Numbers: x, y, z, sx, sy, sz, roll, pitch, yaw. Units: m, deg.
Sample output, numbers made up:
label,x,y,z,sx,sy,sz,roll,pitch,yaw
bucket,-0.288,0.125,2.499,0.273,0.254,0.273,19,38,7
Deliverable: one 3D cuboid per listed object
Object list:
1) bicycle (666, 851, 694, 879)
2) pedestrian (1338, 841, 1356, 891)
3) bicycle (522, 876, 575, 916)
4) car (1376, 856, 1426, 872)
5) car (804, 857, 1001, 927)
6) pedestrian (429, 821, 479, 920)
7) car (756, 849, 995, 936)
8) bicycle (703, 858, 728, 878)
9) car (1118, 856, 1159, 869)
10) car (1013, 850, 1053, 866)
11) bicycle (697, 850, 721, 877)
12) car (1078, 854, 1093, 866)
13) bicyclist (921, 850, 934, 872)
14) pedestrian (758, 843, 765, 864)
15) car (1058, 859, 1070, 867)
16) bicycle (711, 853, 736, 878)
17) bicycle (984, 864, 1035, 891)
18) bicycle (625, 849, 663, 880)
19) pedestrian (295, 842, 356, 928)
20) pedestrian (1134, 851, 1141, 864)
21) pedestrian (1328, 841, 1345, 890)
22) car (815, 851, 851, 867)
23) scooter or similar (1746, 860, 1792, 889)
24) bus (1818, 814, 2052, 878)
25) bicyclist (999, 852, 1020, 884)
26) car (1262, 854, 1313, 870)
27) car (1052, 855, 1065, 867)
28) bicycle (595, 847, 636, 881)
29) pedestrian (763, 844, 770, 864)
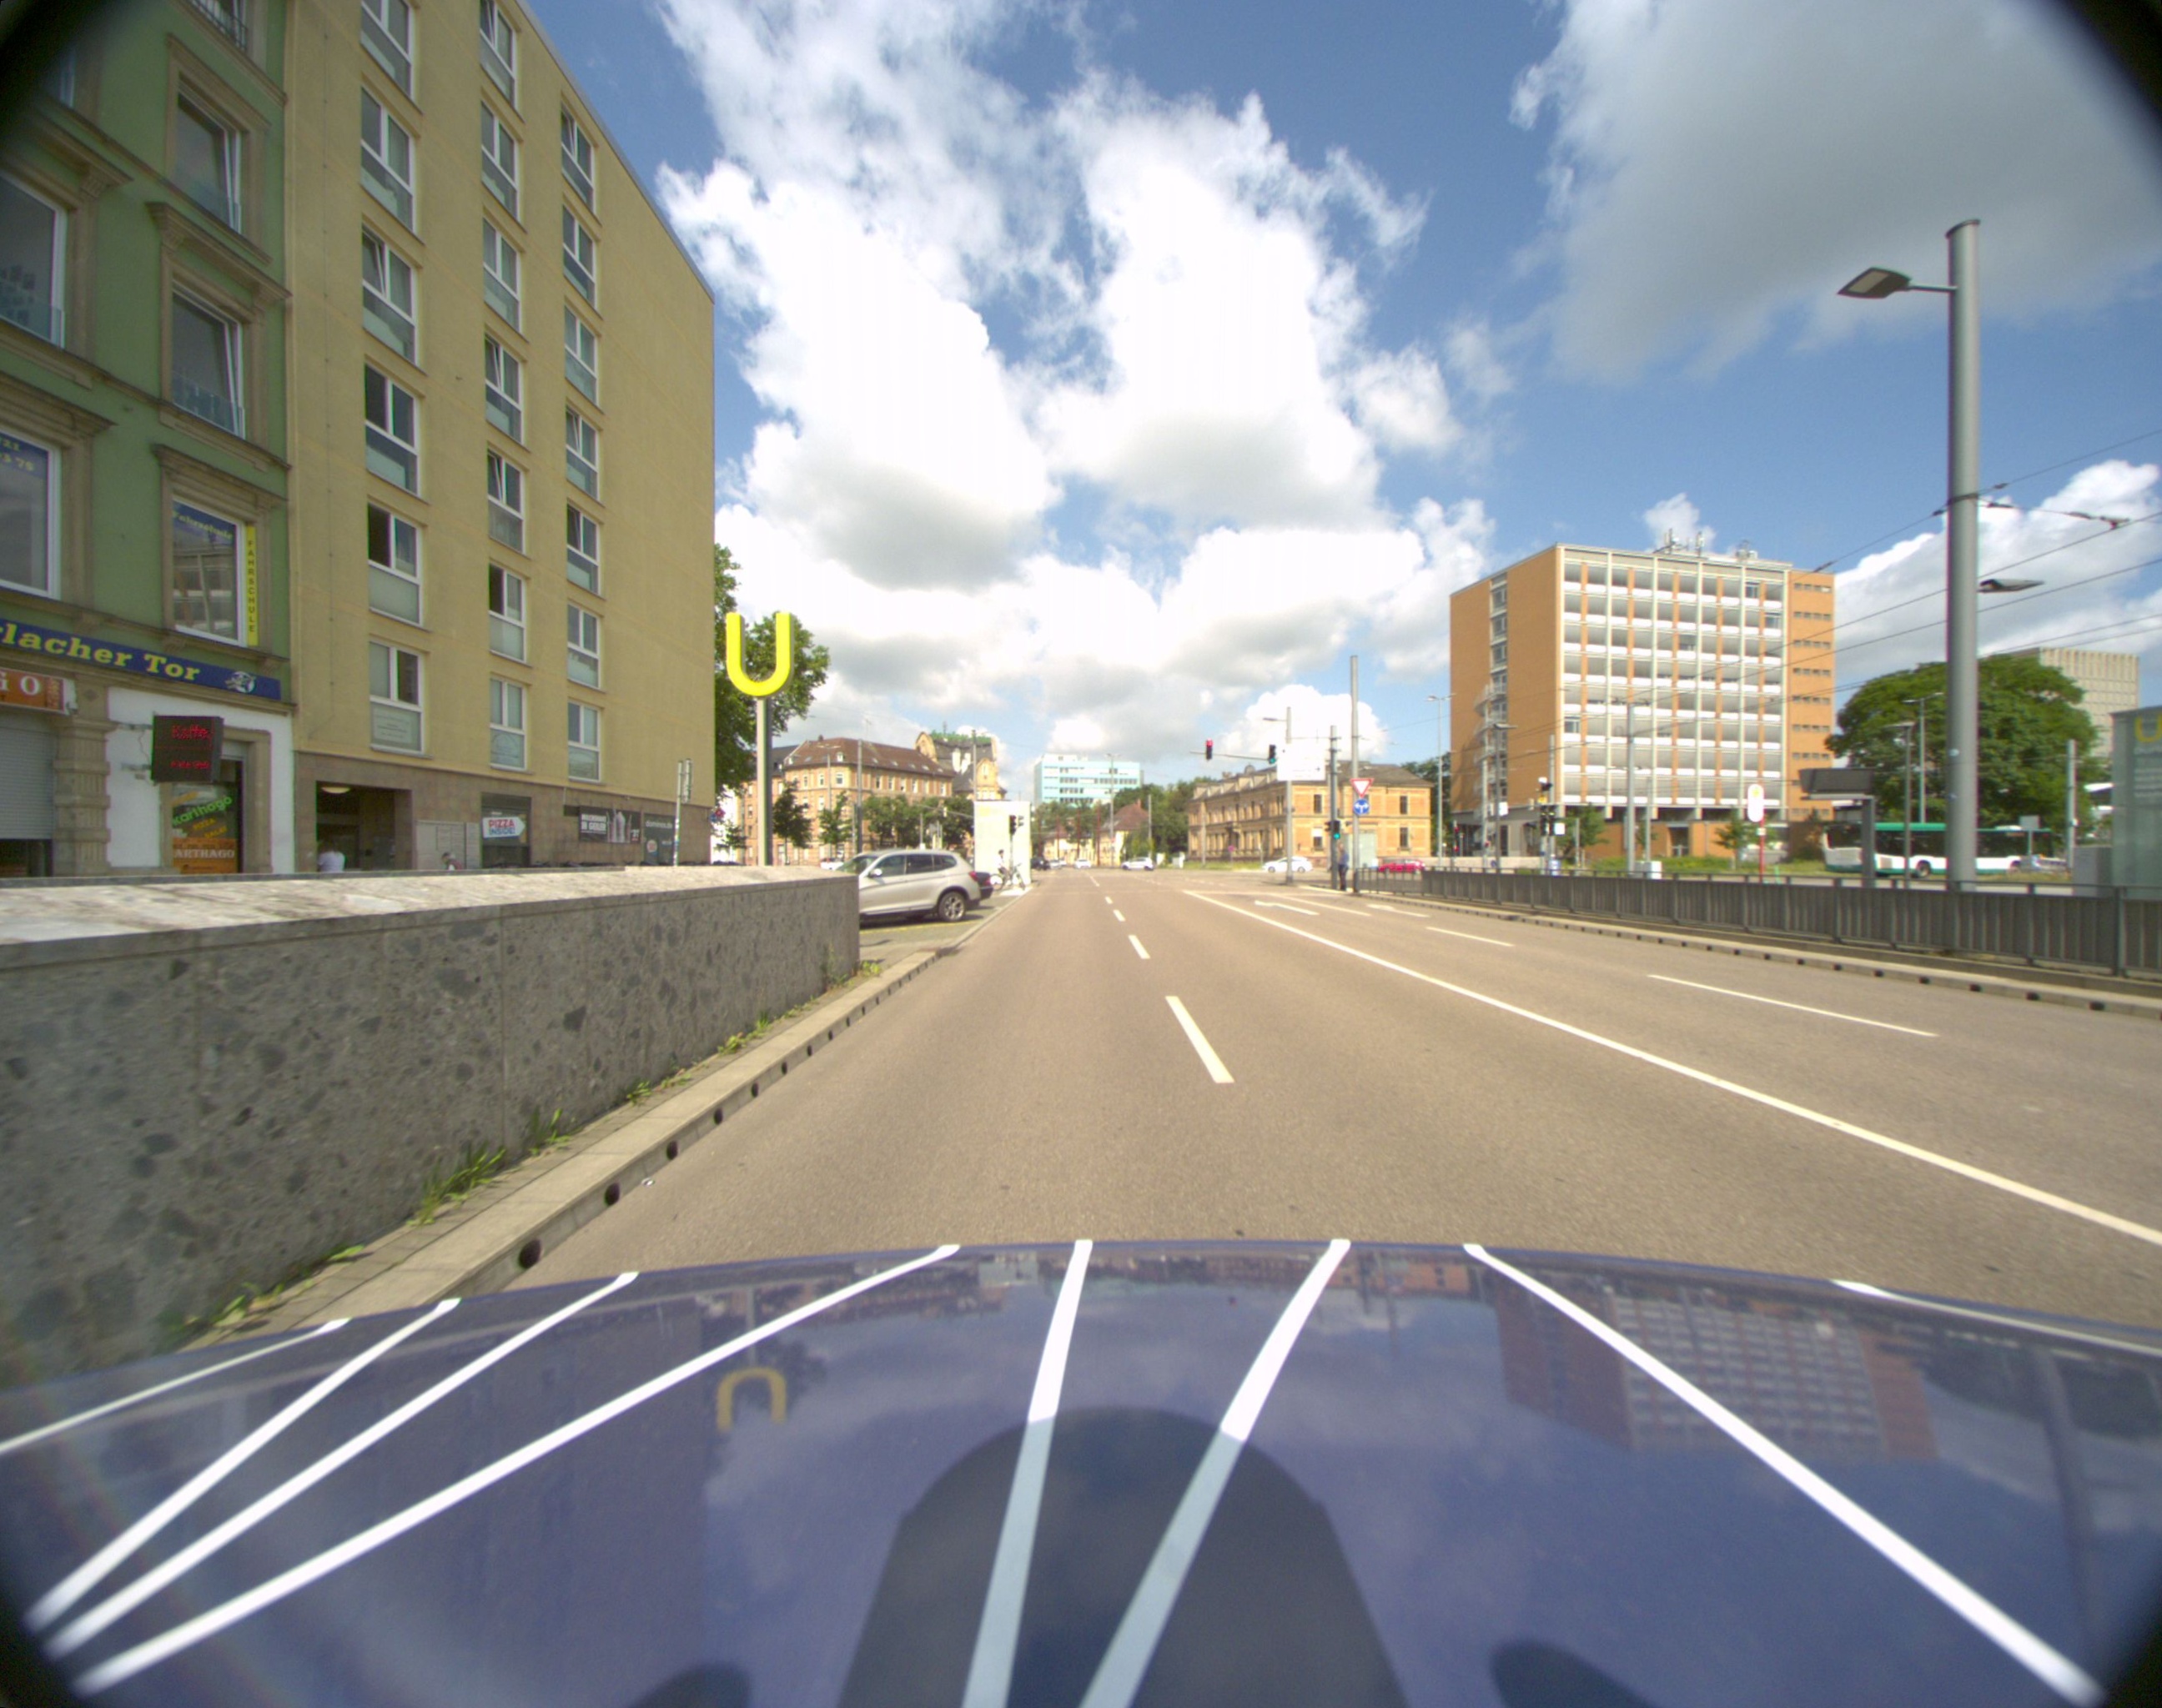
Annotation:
label,x,y,z,sx,sy,sz,roll,pitch,yaw
bicycle,-13.482,0.360,25.593,0.293,0.917,1.452,0,0,-5
pedestrian,10.852,0.476,30.980,0.503,2.002,0.515,0,1,-12
bicycle,-12.906,1.004,18.449,0.293,0.917,1.464,0,-1,-2
car,29.304,0.941,69.699,4.057,1.458,1.649,-1,-2,14
car,-4.628,0.938,20.103,4.608,1.451,1.934,-3,0,-40
pedestrian,-12.834,0.333,15.561,0.603,2.001,0.460,0,-1,0
car,-4.371,0.712,16.633,4.606,1.637,2.056,0,1,-42
bicycle,-13.580,0.510,28.262,0.293,0.734,1.452,0,0,-3
car,6.214,0.916,82.144,4.070,1.376,1.591,-1,-2,19
car,-5.424,0.488,86.702,4.203,1.566,1.649,-2,-2,19
bicycle,-12.824,0.339,26.244,0.293,0.917,1.611,0,-1,-9
car,0.621,0.829,103.487,1.956,1.586,4.507,0,-2,-2
bicyclist,-9.935,0.451,49.141,0.655,1.429,0.743,0,1,0
pedestrian,-48.889,-0.053,116.367,0.885,3.101,0.669,-2,-2,41
car,-4.238,2.182,188.700,2.001,2.001,3.996,0,-2,-16
bicycle,-13.105,0.411,27.881,0.293,0.878,1.463,0,1,-2
bicycle,-3.022,1.003,32.188,2.096,1.099,0.545,-1,-2,16
bicycle,-13.147,0.315,22.903,0.293,0.917,1.464,0,0,1
pedestrian,-14.555,0.590,14.640,0.603,1.609,0.460,3,-1,0
pedestrian,6.813,0.412,91.425,0.543,1.507,0.744,0,0,40
pedestrian,10.616,0.472,31.608,0.427,2.002,0.578,0,1,-11
car,-25.367,0.539,77.621,3.646,1.461,1.695,-2,-2,37
scooter or similar,28.694,0.853,31.711,0.813,1.160,1.167,0,0,-9
bus,50.836,-0.485,45.307,12.377,3.599,2.913,0,0,-8
bicyclist,-3.015,0.590,32.172,0.782,1.328,0.395,-1,-2,16
car,19.758,0.825,72.695,4.665,1.420,1.766,-1,-2,17
car,-3.197,0.993,107.524,1.838,1.586,4.001,0,-2,-2
bicycle,-12.946,0.281,21.156,0.293,0.917,1.464,0,-1,-2
pedestrian,-48.409,-0.059,116.977,0.885,3.057,0.729,-2,-2,41
